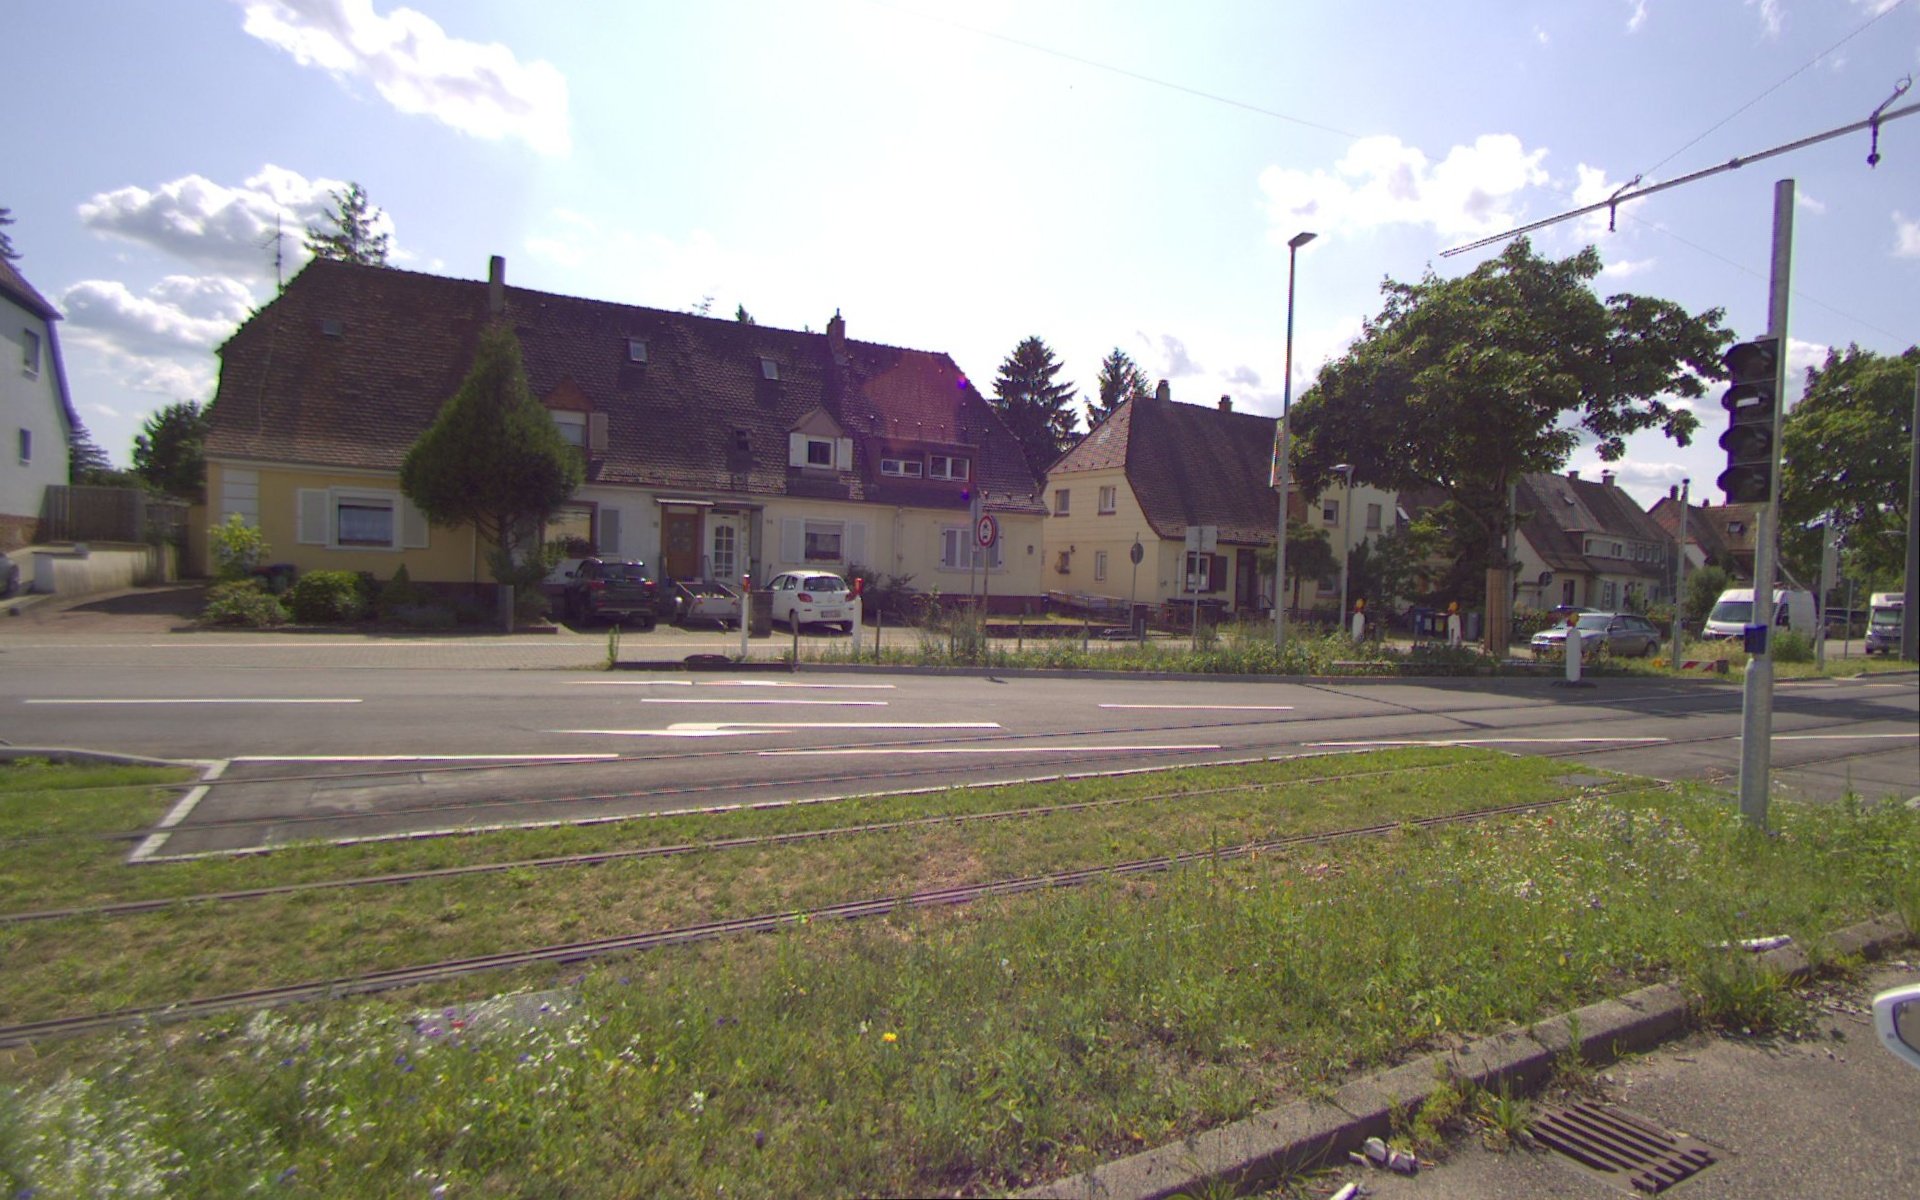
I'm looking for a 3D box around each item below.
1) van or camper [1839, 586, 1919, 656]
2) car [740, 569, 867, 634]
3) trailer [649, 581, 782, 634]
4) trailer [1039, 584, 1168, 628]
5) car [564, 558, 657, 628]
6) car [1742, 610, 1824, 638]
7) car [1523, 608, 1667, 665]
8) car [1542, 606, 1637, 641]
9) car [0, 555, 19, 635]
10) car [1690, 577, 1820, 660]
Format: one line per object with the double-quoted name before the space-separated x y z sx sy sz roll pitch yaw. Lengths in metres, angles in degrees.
"van or camper" 43.501 0.962 46.814 7.230 3.010 2.358 1 1 -38
"car" -4.215 0.012 26.612 1.743 1.565 3.923 1 1 -35
"trailer" -6.363 0.154 25.714 1.938 1.139 4.895 1 1 -31
"trailer" 5.197 0.187 37.304 1.999 1.412 5.232 1 1 -29
"car" -8.724 -0.212 24.896 1.684 1.565 3.870 1 1 -26
"car" 54.495 1.578 66.542 1.860 1.551 3.950 1 2 -42
"car" 18.449 1.050 29.120 4.703 1.484 1.683 1 1 -33
"car" 31.076 1.145 49.696 1.654 1.542 3.593 2 1 -35
"car" -19.244 -0.094 18.721 1.662 1.576 3.858 1 1 -31
"car" 27.785 0.641 35.077 4.866 2.704 2.139 2 1 -35
